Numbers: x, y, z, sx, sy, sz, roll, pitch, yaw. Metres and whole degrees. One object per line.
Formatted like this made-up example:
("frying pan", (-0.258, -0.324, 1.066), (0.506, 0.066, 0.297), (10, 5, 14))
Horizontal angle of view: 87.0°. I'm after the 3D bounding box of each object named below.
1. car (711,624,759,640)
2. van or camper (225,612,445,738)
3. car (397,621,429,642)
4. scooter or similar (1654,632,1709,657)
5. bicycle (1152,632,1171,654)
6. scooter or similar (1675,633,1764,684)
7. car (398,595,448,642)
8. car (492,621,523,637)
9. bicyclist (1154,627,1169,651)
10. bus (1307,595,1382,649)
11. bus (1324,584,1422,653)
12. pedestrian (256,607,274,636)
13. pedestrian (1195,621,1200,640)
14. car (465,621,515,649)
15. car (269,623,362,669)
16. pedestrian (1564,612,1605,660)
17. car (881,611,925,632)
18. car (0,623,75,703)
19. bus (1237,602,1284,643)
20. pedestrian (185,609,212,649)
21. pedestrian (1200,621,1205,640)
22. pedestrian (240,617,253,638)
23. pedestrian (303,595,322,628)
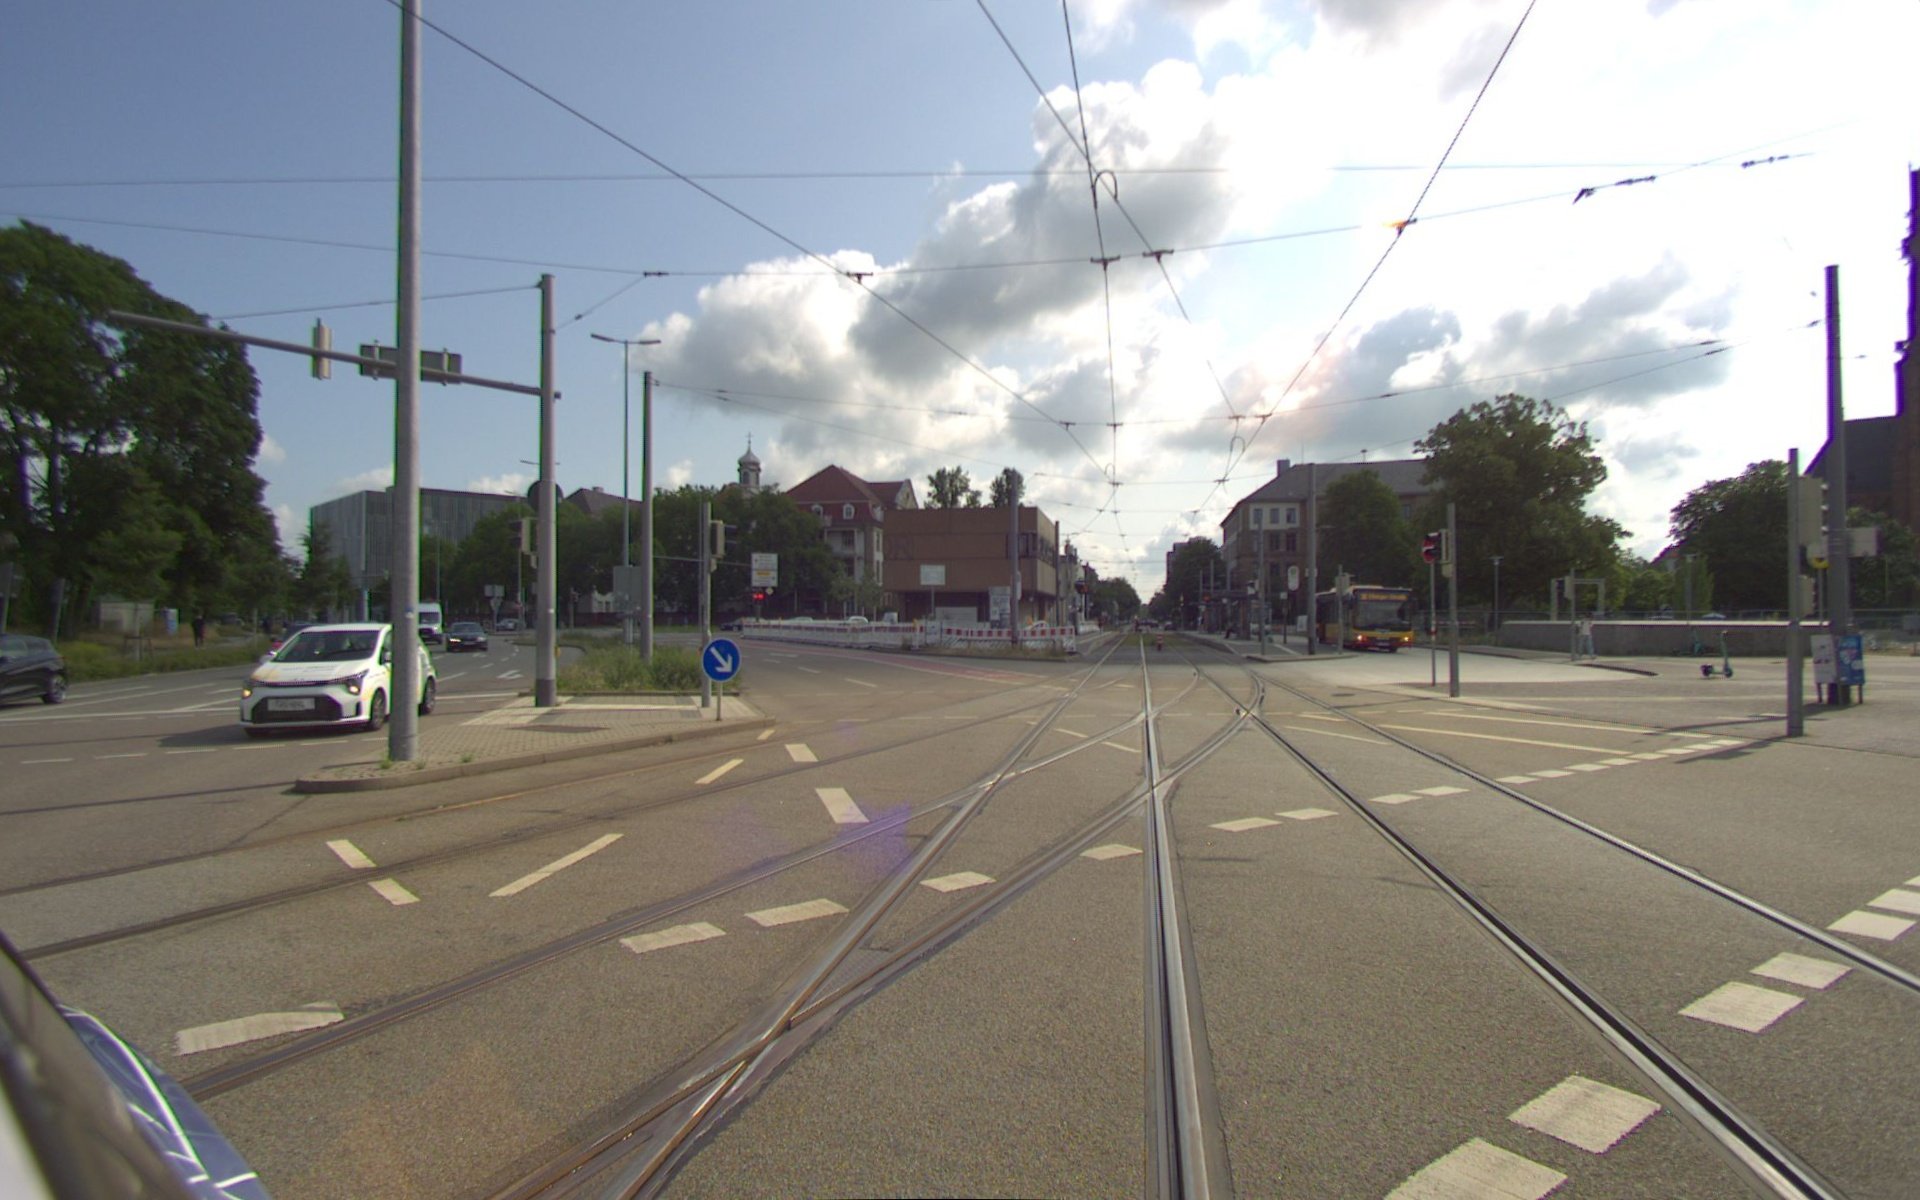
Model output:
("car", (-20.921, 2.976, 94.282), (1.761, 1.401, 4.070), (-2, -2, 44))
("van or camper", (-8.963, 0.971, 14.891), (1.601, 1.486, 4.011), (-2, 0, -15))
("car", (-46.134, 2.633, 85.325), (1.966, 1.785, 4.151), (1, -2, -34))
("scooter or similar", (27.616, 1.704, 38.736), (1.646, 0.957, 0.472), (0, -2, 12))
("bicycle", (9.759, 2.087, 48.991), (0.803, 1.000, 2.064), (0, -3, 9))
("scooter or similar", (19.176, 1.455, 25.548), (1.469, 1.198, 1.343), (1, -1, -31))
("car", (-34.858, 1.221, 65.808), (2.443, 2.901, 6.169), (1, -2, -24))
("car", (-50.151, 3.176, 112.073), (1.968, 1.580, 4.792), (3, -2, -38))
("bicyclist", (9.762, 1.902, 49.022), (0.689, 1.161, 0.736), (0, -3, 9))
("bus", (19.617, 1.138, 51.867), (2.672, 2.607, 5.061), (0, -1, 10))
("bus", (18.539, 0.872, 45.899), (2.671, 2.855, 7.076), (0, -1, 11))
("pedestrian", (-49.063, 1.520, 71.449), (0.970, 2.029, 1.133), (1, -1, -33))
("pedestrian", (20.771, 2.677, 88.433), (0.354, 1.614, 0.363), (0, -2, 11))
("car", (-23.639, 1.736, 51.030), (1.965, 1.291, 4.559), (1, -1, -21))
("car", (-19.408, 1.357, 30.595), (1.582, 1.223, 3.019), (1, 0, -16))
("pedestrian", (23.857, 1.372, 38.684), (0.919, 1.702, 1.095), (-3, 1, 9))
("car", (-5.789, 2.177, 102.826), (1.993, 2.029, 5.019), (0, -1, 32))
("car", (-18.876, 1.208, 19.184), (1.685, 1.465, 4.012), (-1, 0, -18))
("bus", (27.684, 2.126, 93.739), (2.933, 3.534, 12.212), (0, -1, 11))
("pedestrian", (-37.544, 1.438, 49.892), (0.748, 1.885, 0.647), (5, -2, -17))
("pedestrian", (21.147, 2.680, 88.337), (0.354, 1.614, 0.363), (0, -2, 11))
("pedestrian", (-72.642, 2.799, 103.050), (0.970, 2.029, 1.133), (1, -2, -33))
("pedestrian", (-40.522, 0.698, 63.332), (0.970, 2.029, 1.133), (1, -1, -33))
